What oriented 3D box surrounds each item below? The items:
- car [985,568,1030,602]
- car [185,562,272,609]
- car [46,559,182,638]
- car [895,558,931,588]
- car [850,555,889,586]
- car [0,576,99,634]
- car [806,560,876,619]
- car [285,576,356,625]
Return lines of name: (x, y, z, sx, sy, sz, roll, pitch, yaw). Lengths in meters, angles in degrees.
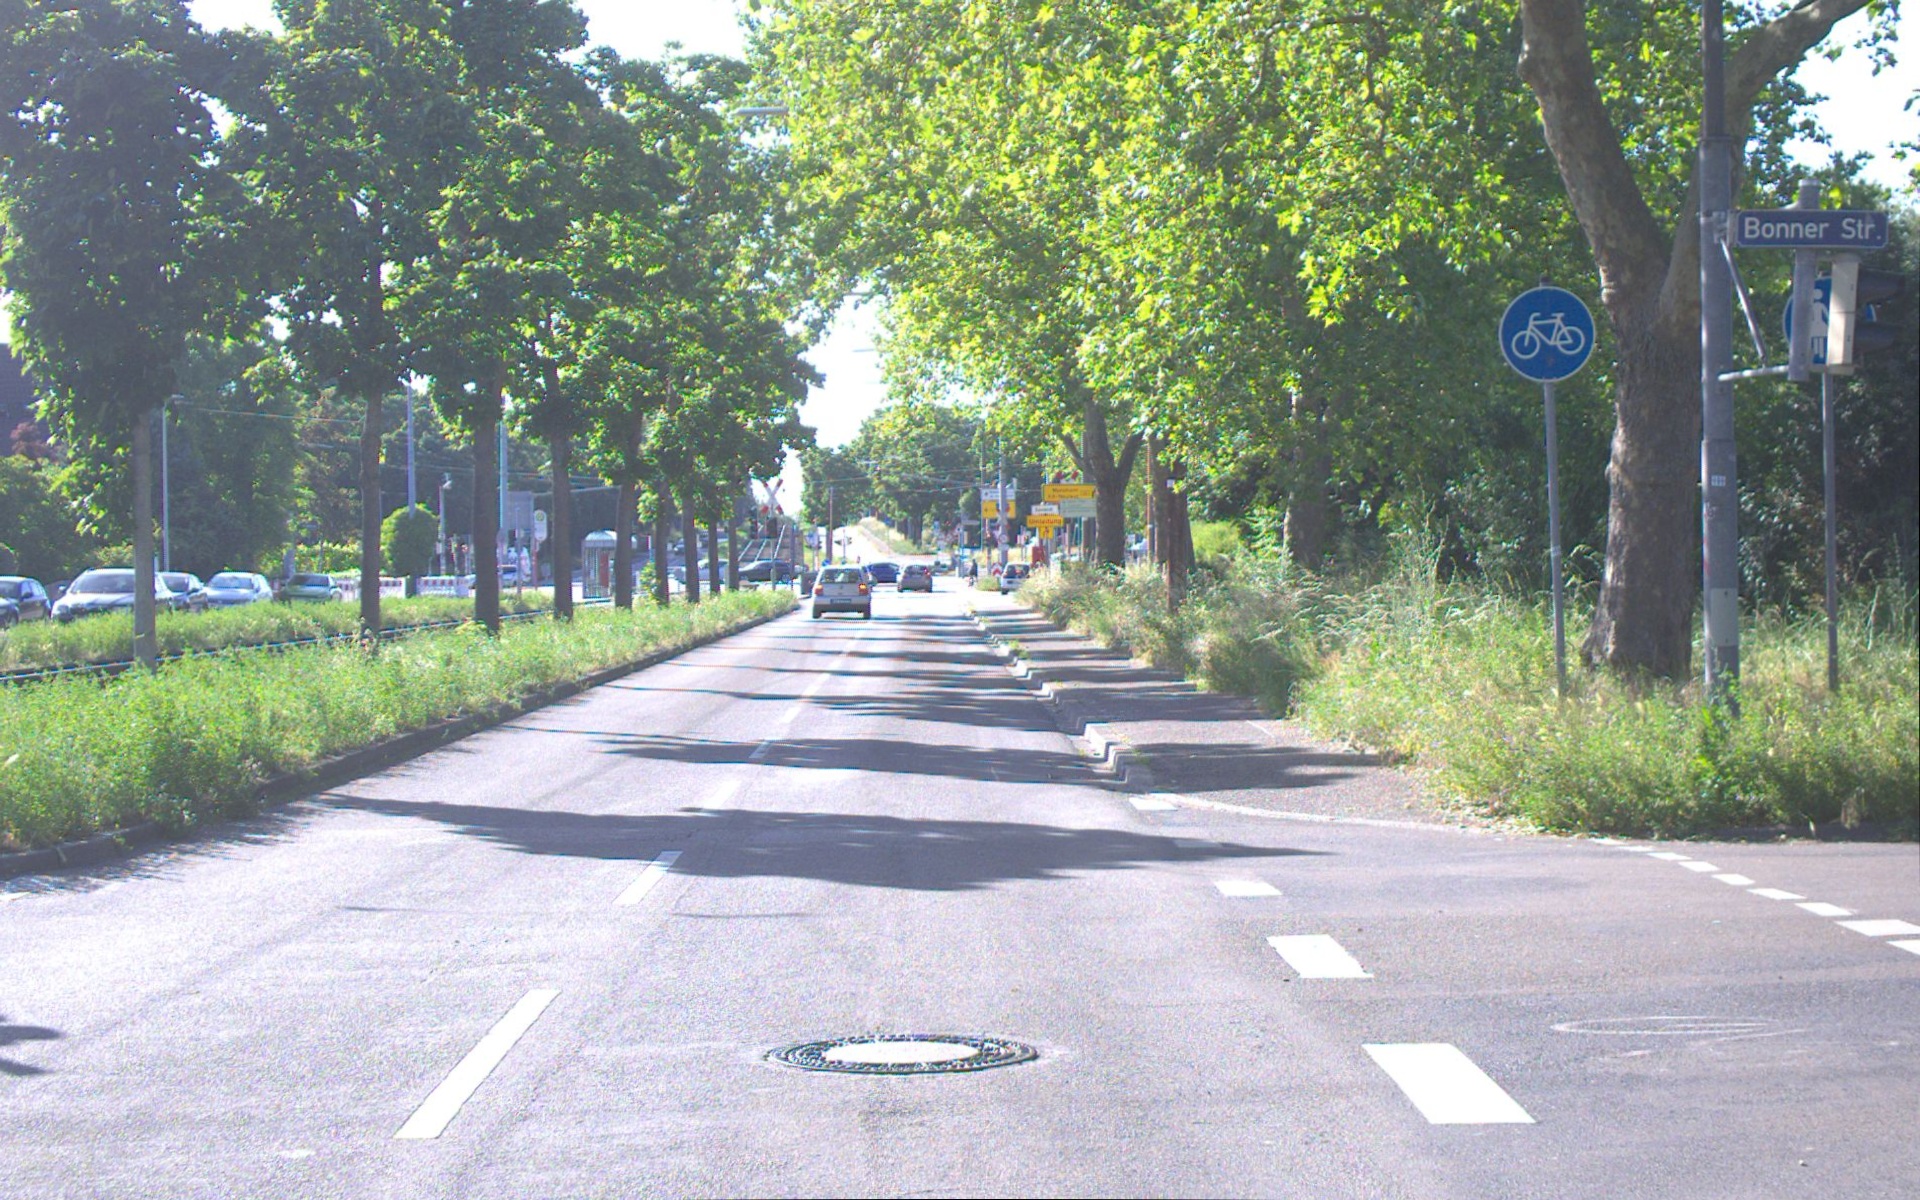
car: (2.295, -0.749, 166.208, 1.993, 1.598, 4.473, 1, 0, -1)
car: (-23.005, -0.460, 108.253, 1.860, 1.426, 4.462, 1, 0, -1)
car: (-17.320, -0.048, 70.569, 1.660, 1.547, 4.811, 1, 0, -1)
car: (-2.442, -1.404, 178.355, 1.791, 1.554, 4.228, 1, 0, -1)
car: (-4.837, -1.576, 183.756, 1.993, 1.598, 4.473, 1, 0, -1)
car: (-22.776, 0.114, 85.258, 1.860, 1.365, 4.228, 1, 0, -1)
car: (-3.282, -0.300, 95.444, 1.860, 1.595, 4.228, 1, 0, -1)
car: (-22.896, -0.012, 123.215, 1.778, 1.701, 4.228, 1, 0, -1)
